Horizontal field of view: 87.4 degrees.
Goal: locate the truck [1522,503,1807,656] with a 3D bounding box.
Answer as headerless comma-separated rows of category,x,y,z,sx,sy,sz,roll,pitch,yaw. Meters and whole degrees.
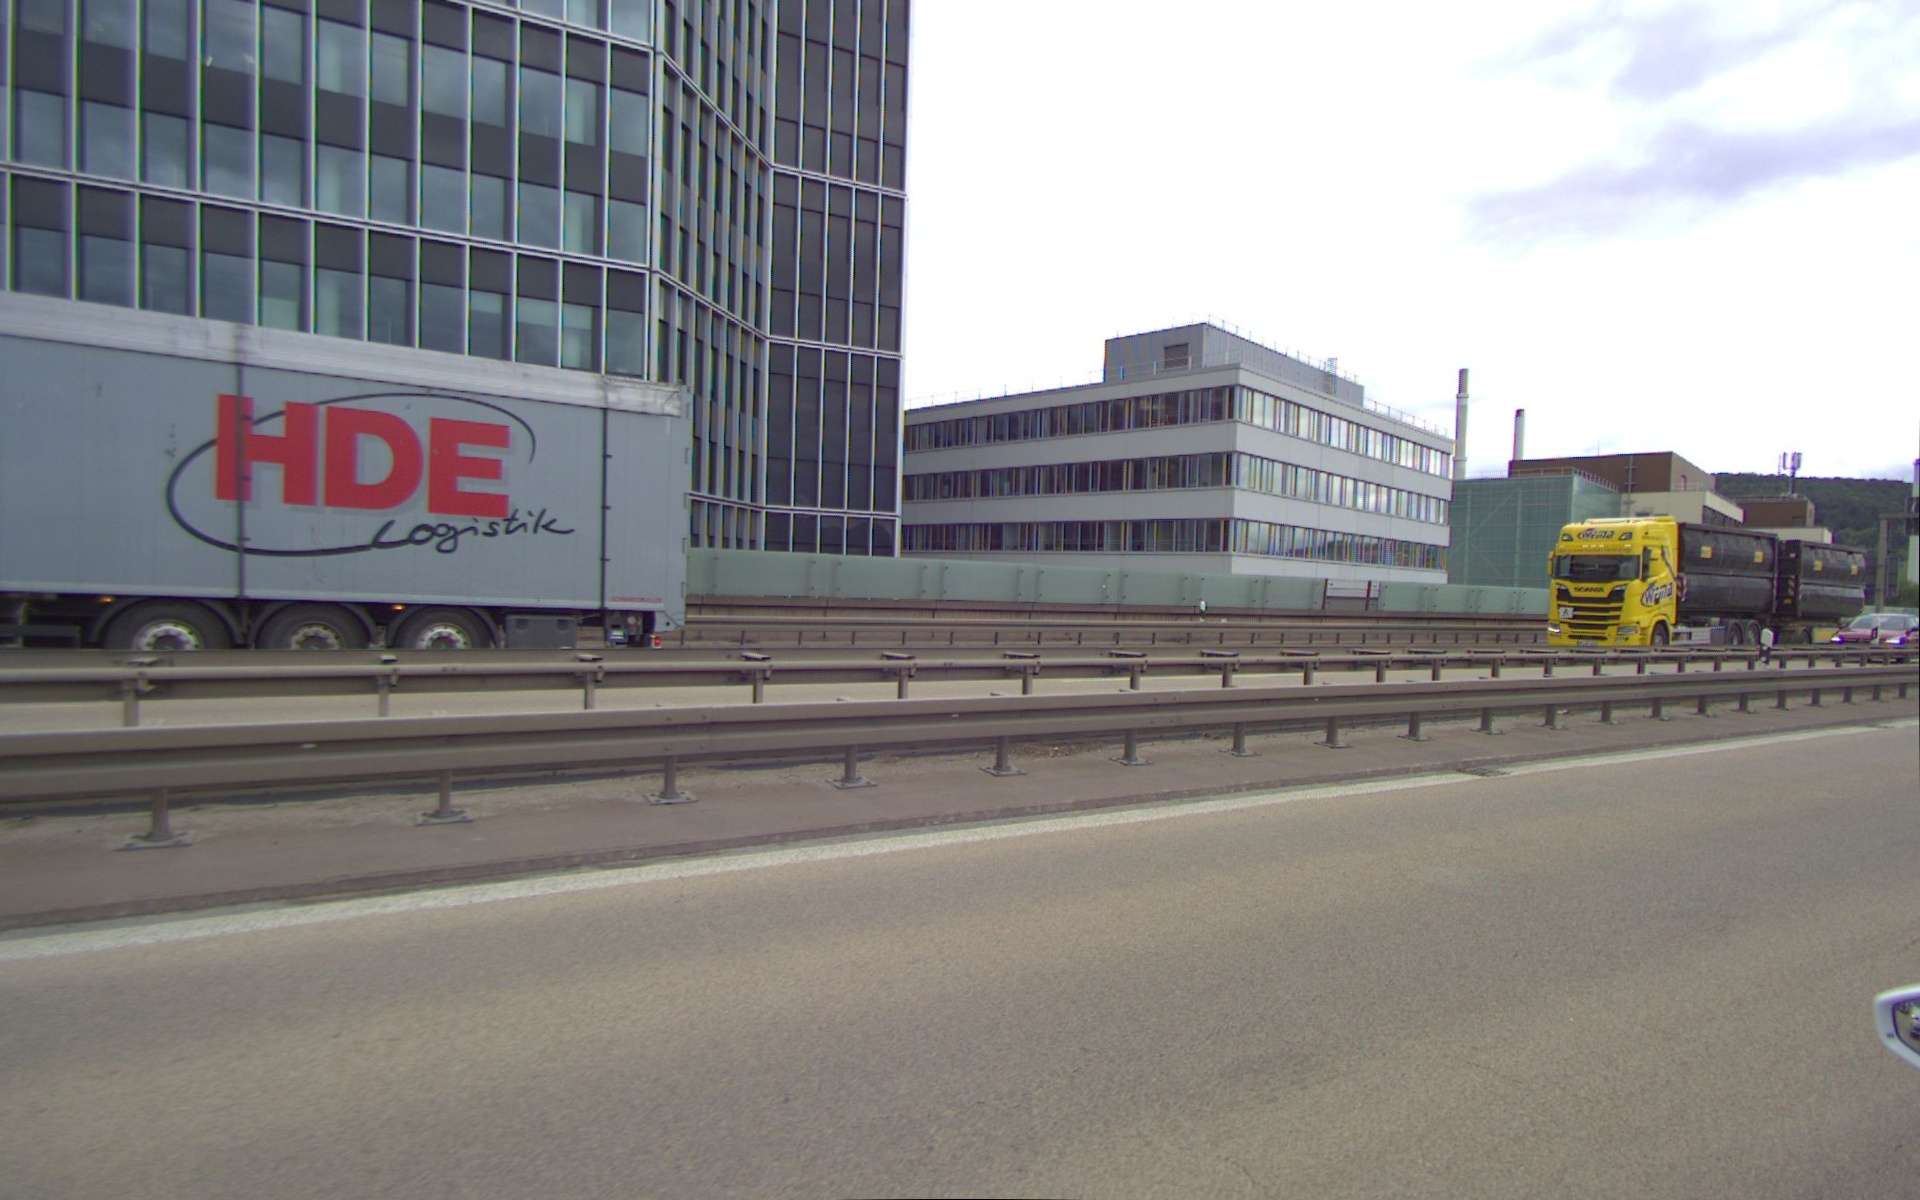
truck,22.317,-0.429,31.453,11.728,4.119,3.039,2,0,-33

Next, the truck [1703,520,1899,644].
truck,31.057,-0.526,36.970,8.568,4.119,3.040,2,0,-33

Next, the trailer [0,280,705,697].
trailer,-9.150,-1.076,11.489,11.749,4.040,2.830,1,0,-31

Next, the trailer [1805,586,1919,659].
trailer,27.534,0.675,30.290,3.956,2.040,1.983,2,0,-32
